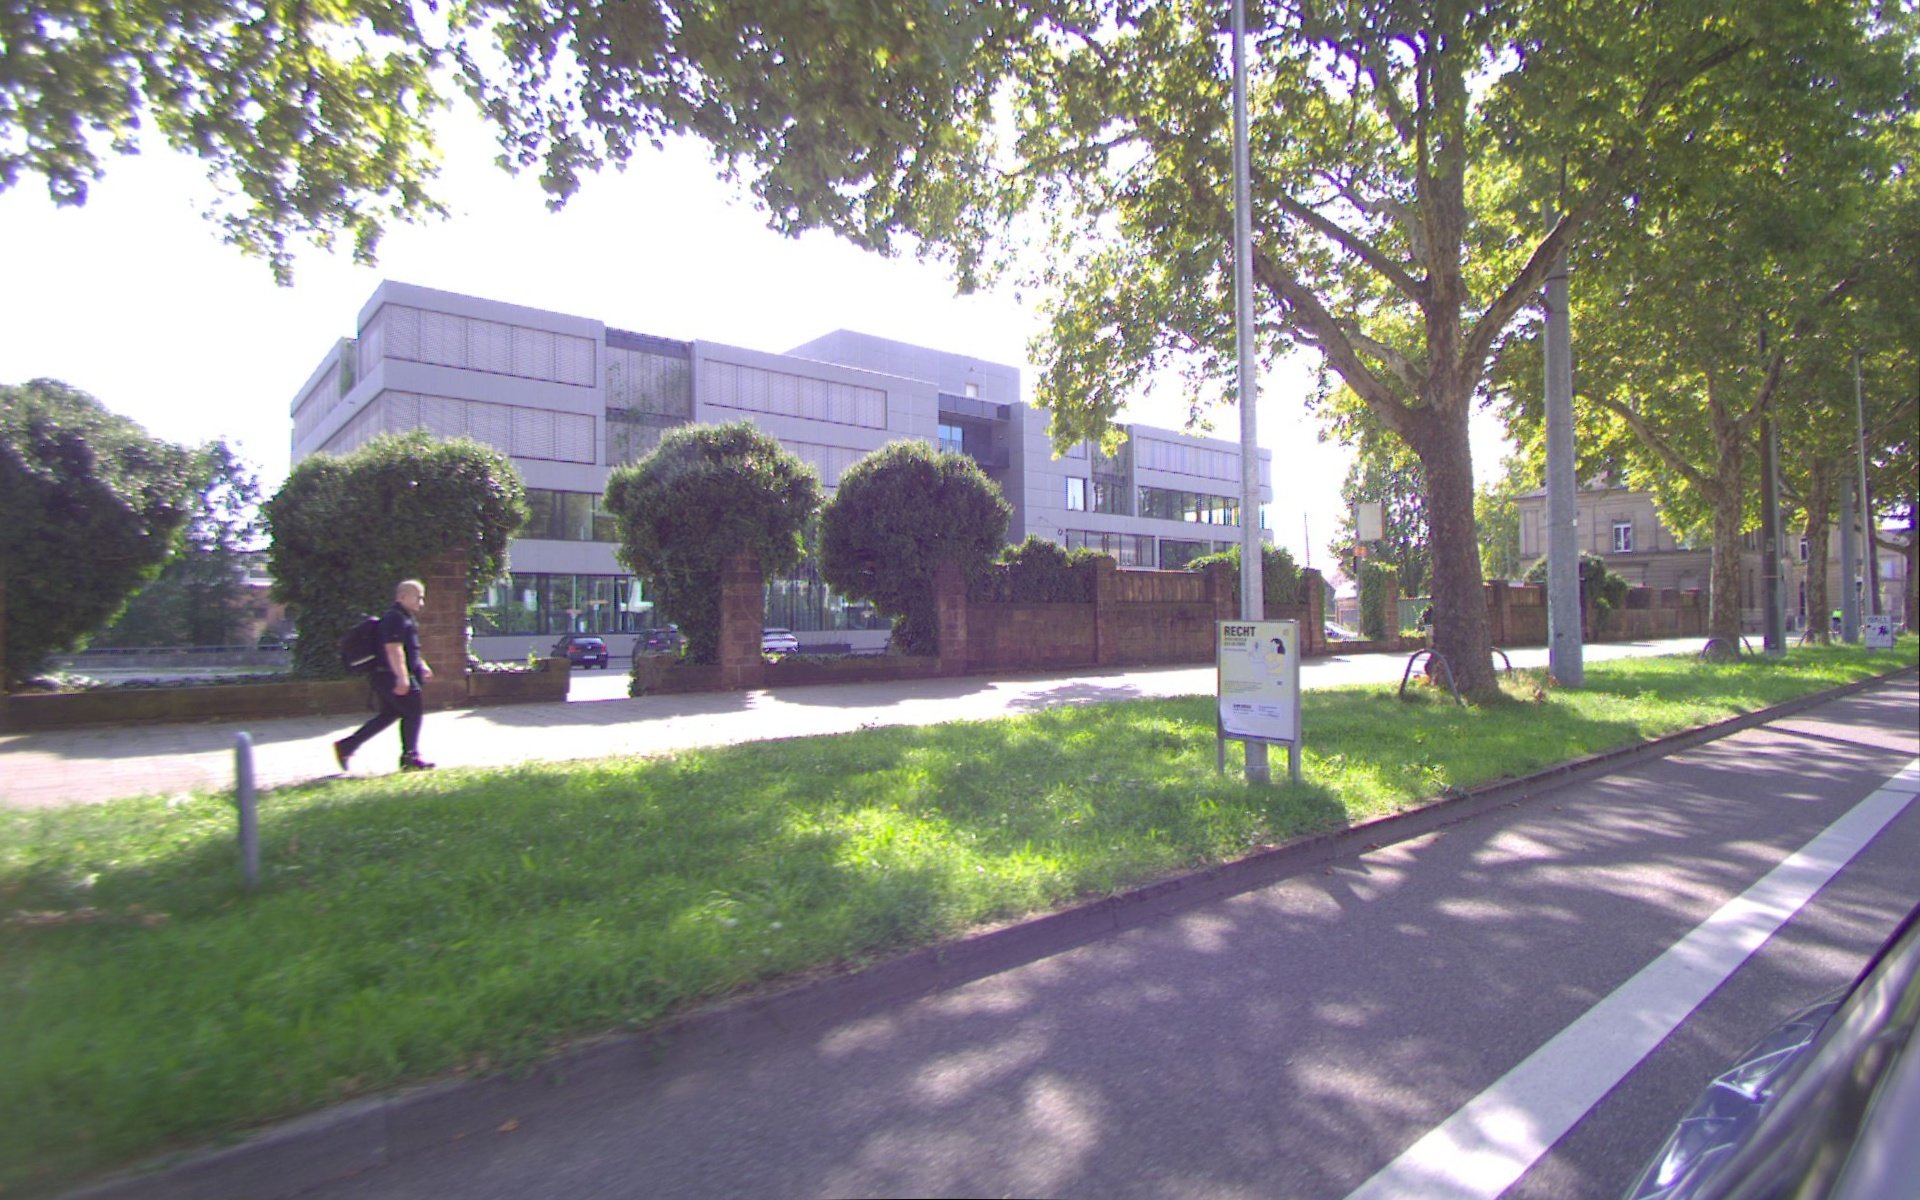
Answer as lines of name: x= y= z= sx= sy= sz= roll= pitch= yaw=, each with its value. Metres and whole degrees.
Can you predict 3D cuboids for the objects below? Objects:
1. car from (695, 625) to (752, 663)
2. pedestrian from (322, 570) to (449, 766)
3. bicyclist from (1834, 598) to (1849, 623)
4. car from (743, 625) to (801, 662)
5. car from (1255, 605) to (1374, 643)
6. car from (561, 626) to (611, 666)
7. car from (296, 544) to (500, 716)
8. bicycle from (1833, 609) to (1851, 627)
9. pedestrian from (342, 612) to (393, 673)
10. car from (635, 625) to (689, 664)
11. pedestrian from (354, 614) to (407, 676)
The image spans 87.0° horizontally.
car: x=-10.570 y=1.912 z=45.010 sx=1.778 sy=1.475 sz=3.981 roll=0 pitch=0 yaw=-24
pedestrian: x=-4.816 y=0.537 z=8.482 sx=0.773 sy=1.535 sz=0.785 roll=1 pitch=-2 yaw=-41
bicyclist: x=51.963 y=0.642 z=59.647 sx=0.827 sy=1.472 sz=0.549 roll=1 pitch=-2 yaw=-40
car: x=-8.790 y=1.976 z=47.171 sx=1.785 sy=1.524 sz=3.981 roll=0 pitch=0 yaw=-24
car: x=13.966 y=0.953 z=39.989 sx=1.966 sy=1.436 sz=3.990 roll=1 pitch=-2 yaw=-43
car: x=-15.685 y=1.871 z=42.345 sx=1.778 sy=1.475 sz=3.981 roll=0 pitch=0 yaw=-23
car: x=-9.718 y=0.477 z=17.251 sx=2.209 sy=2.466 sz=5.387 roll=1 pitch=-1 yaw=-38
bicycle: x=51.961 y=1.067 z=59.632 sx=1.683 sy=1.020 sz=0.549 roll=0 pitch=-2 yaw=-41
pedestrian: x=-20.428 y=1.439 z=34.898 sx=1.334 sy=2.039 sz=0.940 roll=1 pitch=-2 yaw=-41
car: x=-12.881 y=1.872 z=43.591 sx=1.778 sy=1.475 sz=3.981 roll=0 pitch=0 yaw=-23
pedestrian: x=-19.577 y=1.484 z=34.206 sx=1.364 sy=2.039 sz=1.079 roll=1 pitch=-2 yaw=-41
